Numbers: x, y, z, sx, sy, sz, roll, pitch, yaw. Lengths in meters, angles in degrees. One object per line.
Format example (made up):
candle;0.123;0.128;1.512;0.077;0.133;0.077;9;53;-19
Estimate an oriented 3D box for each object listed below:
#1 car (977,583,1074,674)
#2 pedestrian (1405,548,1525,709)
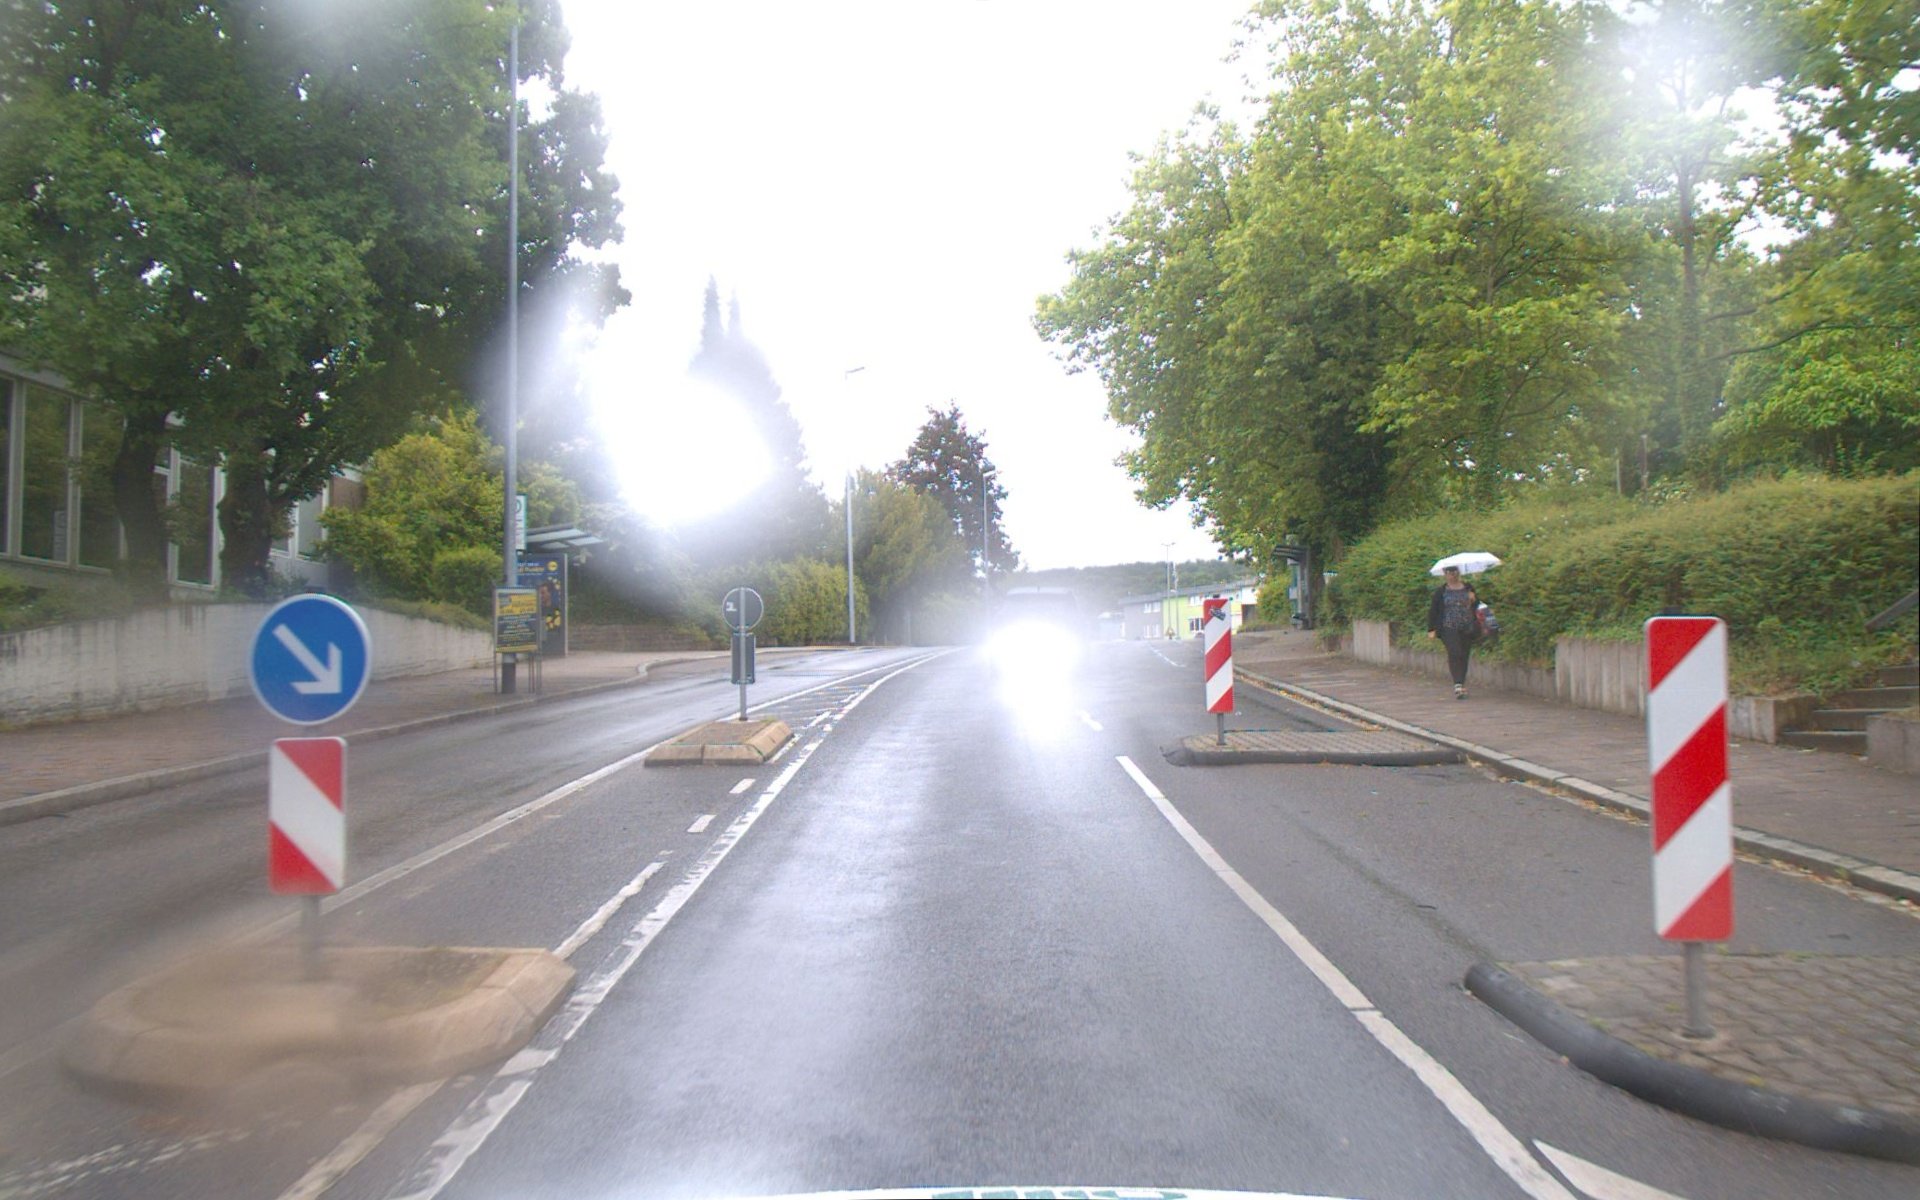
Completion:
car;1.221;0.507;32.188;1.753;1.631;4.254;0;0;1
pedestrian;6.246;0.359;20.516;1.030;1.927;1.132;-1;-2;-5
